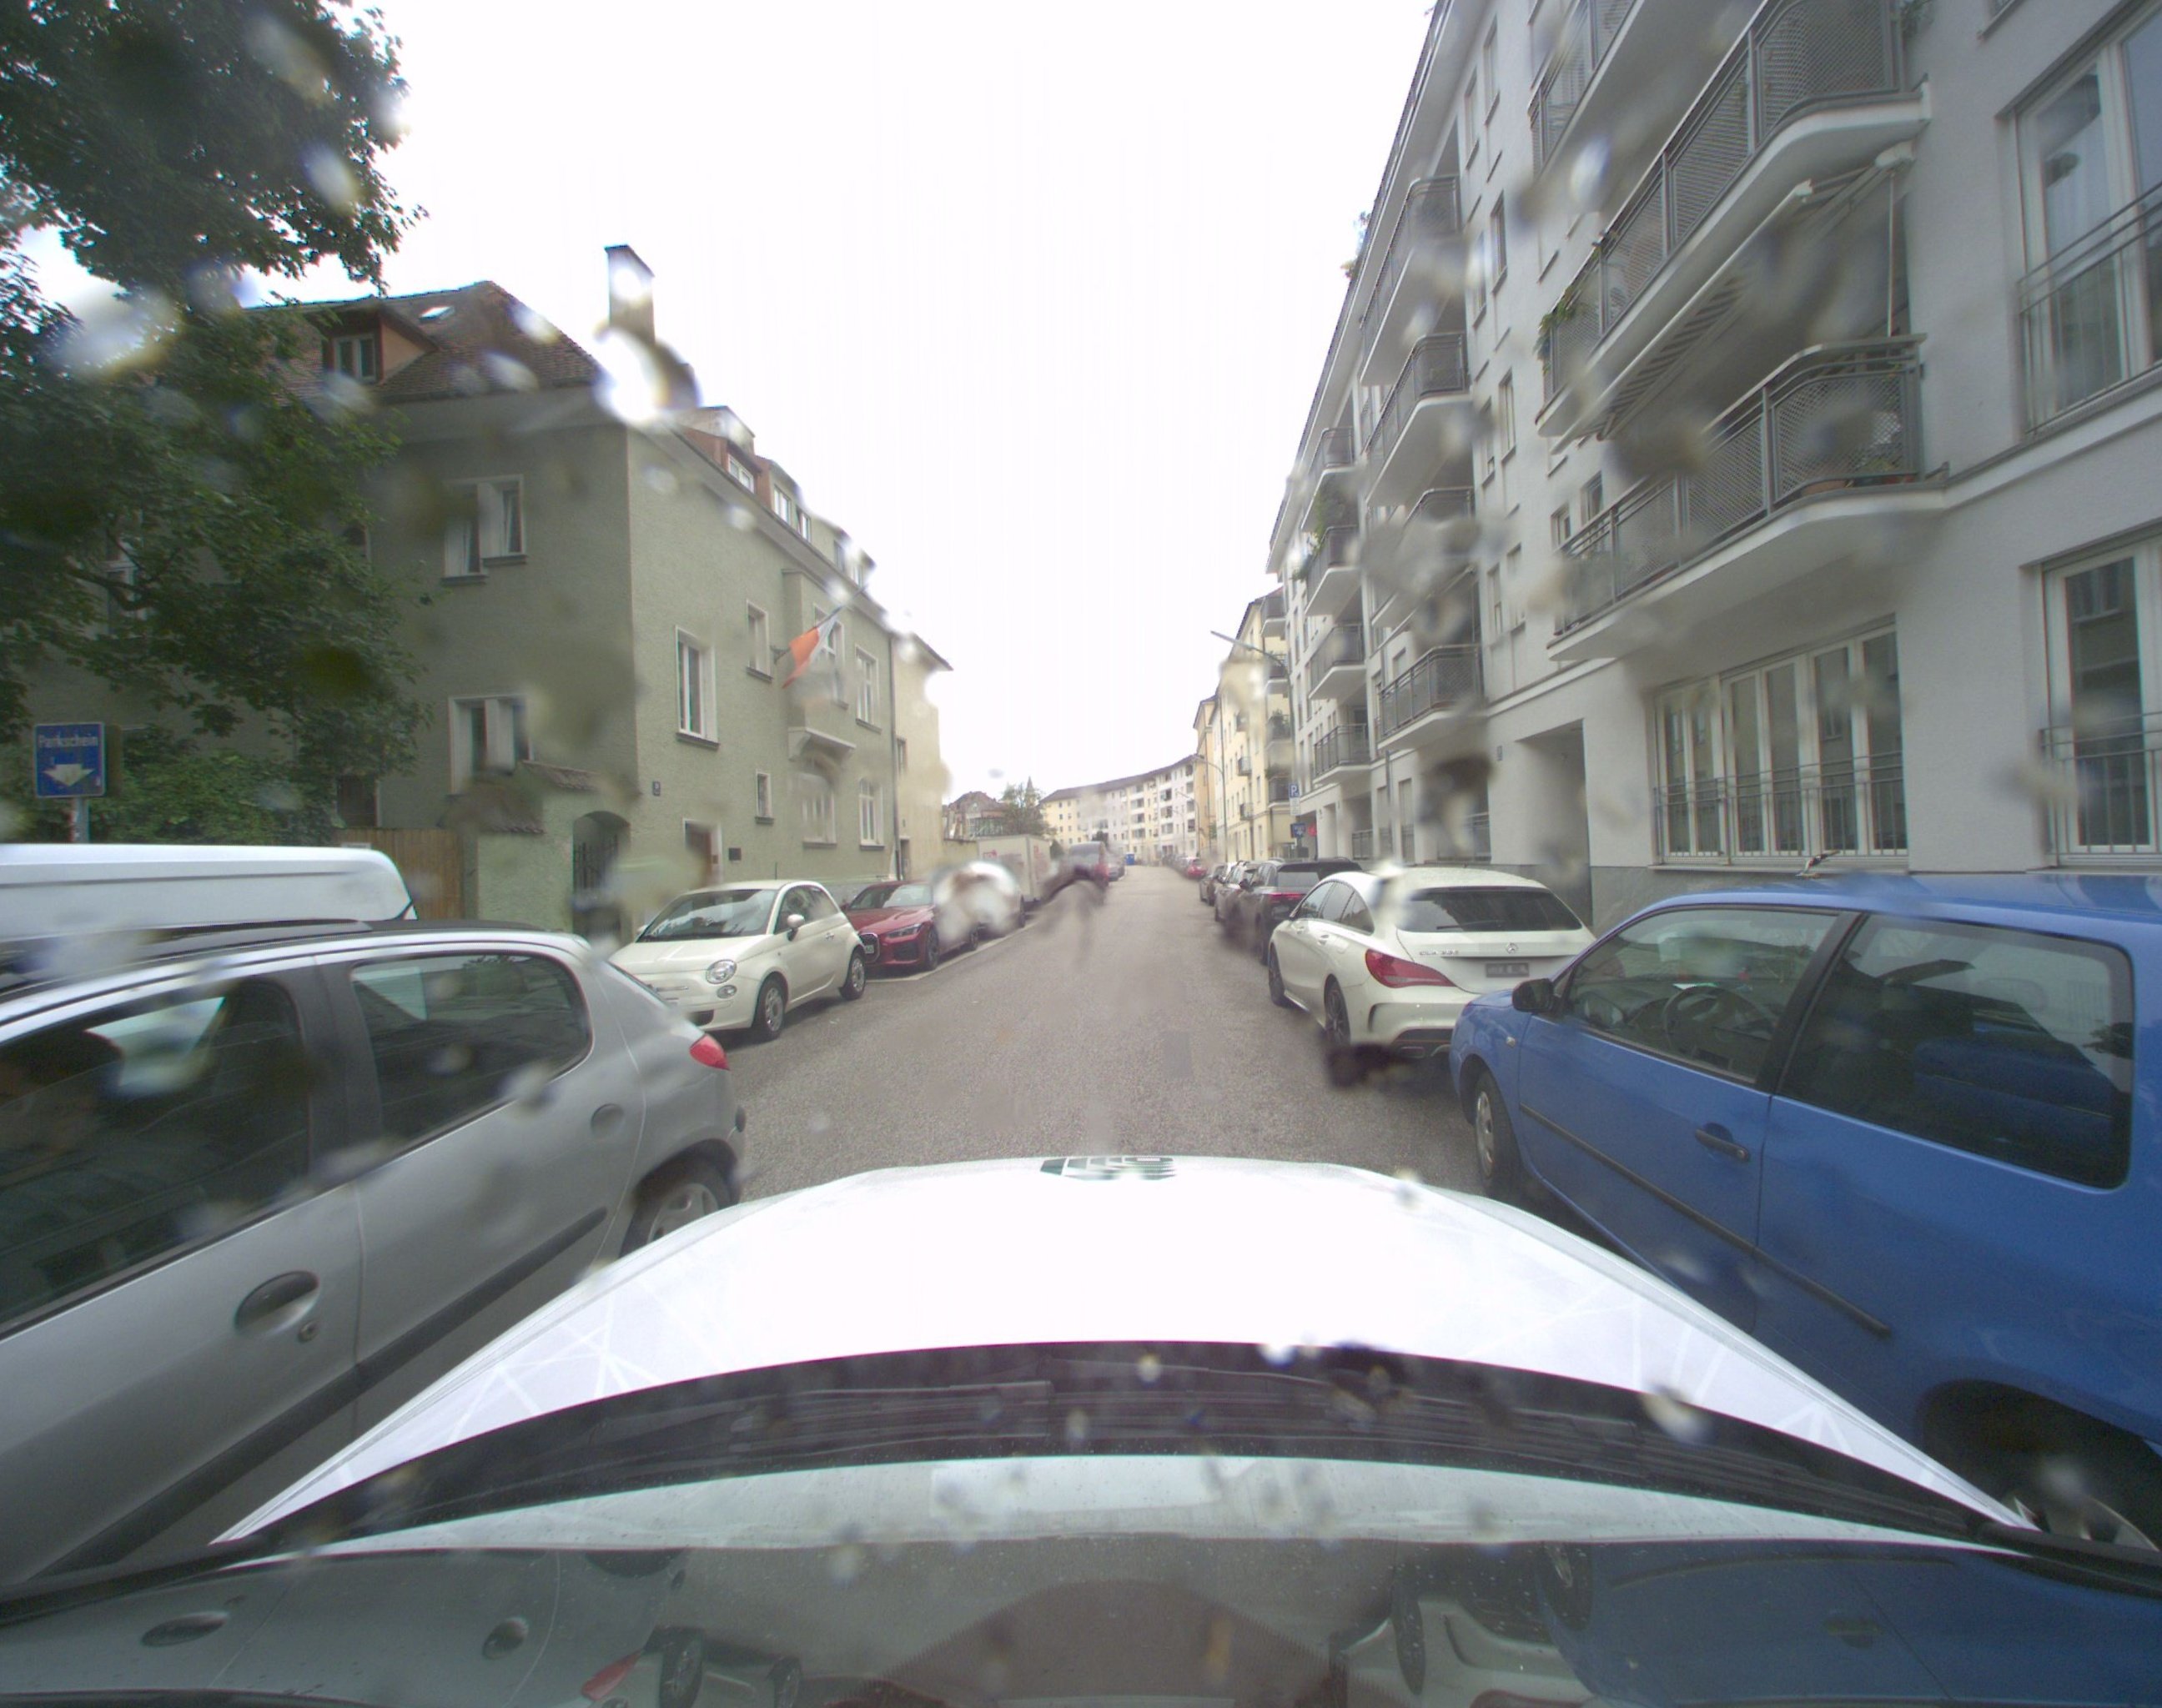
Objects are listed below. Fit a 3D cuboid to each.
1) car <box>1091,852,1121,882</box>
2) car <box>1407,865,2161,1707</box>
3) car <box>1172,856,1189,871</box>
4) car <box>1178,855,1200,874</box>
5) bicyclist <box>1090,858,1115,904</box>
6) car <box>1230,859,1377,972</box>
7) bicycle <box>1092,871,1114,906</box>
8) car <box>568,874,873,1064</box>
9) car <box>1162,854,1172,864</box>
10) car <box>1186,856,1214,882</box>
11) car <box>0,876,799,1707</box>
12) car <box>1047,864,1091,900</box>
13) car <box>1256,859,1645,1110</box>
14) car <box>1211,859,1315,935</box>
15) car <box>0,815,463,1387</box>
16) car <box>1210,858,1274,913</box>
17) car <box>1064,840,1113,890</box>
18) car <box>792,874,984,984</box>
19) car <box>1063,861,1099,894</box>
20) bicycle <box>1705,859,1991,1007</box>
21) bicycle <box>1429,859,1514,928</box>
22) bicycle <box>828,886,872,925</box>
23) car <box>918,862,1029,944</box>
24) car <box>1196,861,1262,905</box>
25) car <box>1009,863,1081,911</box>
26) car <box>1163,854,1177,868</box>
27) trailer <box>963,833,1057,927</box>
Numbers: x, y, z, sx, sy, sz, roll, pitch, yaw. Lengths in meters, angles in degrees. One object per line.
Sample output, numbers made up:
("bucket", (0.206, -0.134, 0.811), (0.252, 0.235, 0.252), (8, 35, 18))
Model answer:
("car", (1.870, 0.905, 59.716), (1.874, 1.931, 4.607), (-4, 0, 5))
("car", (2.480, 0.748, 2.660), (1.611, 1.412, 3.557), (0, -1, 4))
("car", (10.692, 0.976, 87.611), (1.583, 1.582, 4.304), (-1, 0, 4))
("car", (9.028, 0.878, 68.187), (1.592, 1.491, 3.803), (-2, 0, 4))
("bicyclist", (0.774, 0.940, 29.072), (0.690, 1.561, 0.969), (-3, -1, 8))
("car", (3.425, 0.860, 13.213), (1.596, 1.530, 3.989), (0, 0, 4))
("bicycle", (0.793, 1.221, 29.106), (0.501, 1.128, 1.777), (-3, 0, 8))
("car", (-3.500, 1.027, 8.586), (1.467, 1.466, 3.317), (-4, -1, 4))
("car", (11.515, 0.677, 109.449), (1.266, 1.299, 2.800), (-2, 0, 4))
("car", (7.640, 0.948, 52.402), (1.587, 1.509, 3.807), (-2, 0, 6))
("car", (-2.147, 0.807, 1.545), (1.573, 1.411, 3.619), (-3, -1, 6))
("car", (-0.478, 1.229, 36.867), (1.693, 1.446, 3.828), (-2, 0, 3))
("car", (2.599, 0.768, 6.861), (1.650, 1.440, 4.212), (0, 0, 4))
("car", (4.079, 0.893, 18.950), (1.726, 1.530, 4.627), (0, 0, 4))
("car", (-4.315, 0.829, 2.276), (1.682, 1.803, 4.150), (-4, -1, 5))
("car", (4.757, 0.895, 24.446), (1.512, 1.530, 3.531), (-1, 0, 5))
("car", (0.516, 0.594, 47.052), (2.077, 2.636, 5.387), (-2, 0, 7))
("car", (-3.023, 1.123, 13.803), (1.852, 1.412, 4.338), (-4, -1, 4))
("car", (0.023, 1.163, 41.561), (1.579, 1.538, 3.545), (-3, -1, 3))
("bicycle", (6.147, 0.591, 6.709), (0.674, 1.028, 1.837), (-2, -2, 5))
("bicycle", (7.198, 0.685, 15.121), (0.624, 1.160, 2.129), (-3, -1, 4))
("bicycle", (-6.213, 1.370, 21.994), (0.520, 0.906, 1.930), (1, 0, 2))
("car", (-2.401, 1.057, 19.167), (1.679, 1.603, 3.926), (-4, -1, 5))
("car", (5.106, 0.975, 28.625), (1.756, 1.408, 4.081), (-2, -1, 3))
("car", (-1.266, 1.165, 30.489), (1.756, 1.538, 4.551), (-4, -1, 8))
("car", (10.668, 0.790, 97.751), (1.467, 1.641, 4.005), (-1, 0, 4))
("trailer", (-2.010, 0.714, 24.493), (1.700, 2.461, 4.396), (-4, -1, 8))
